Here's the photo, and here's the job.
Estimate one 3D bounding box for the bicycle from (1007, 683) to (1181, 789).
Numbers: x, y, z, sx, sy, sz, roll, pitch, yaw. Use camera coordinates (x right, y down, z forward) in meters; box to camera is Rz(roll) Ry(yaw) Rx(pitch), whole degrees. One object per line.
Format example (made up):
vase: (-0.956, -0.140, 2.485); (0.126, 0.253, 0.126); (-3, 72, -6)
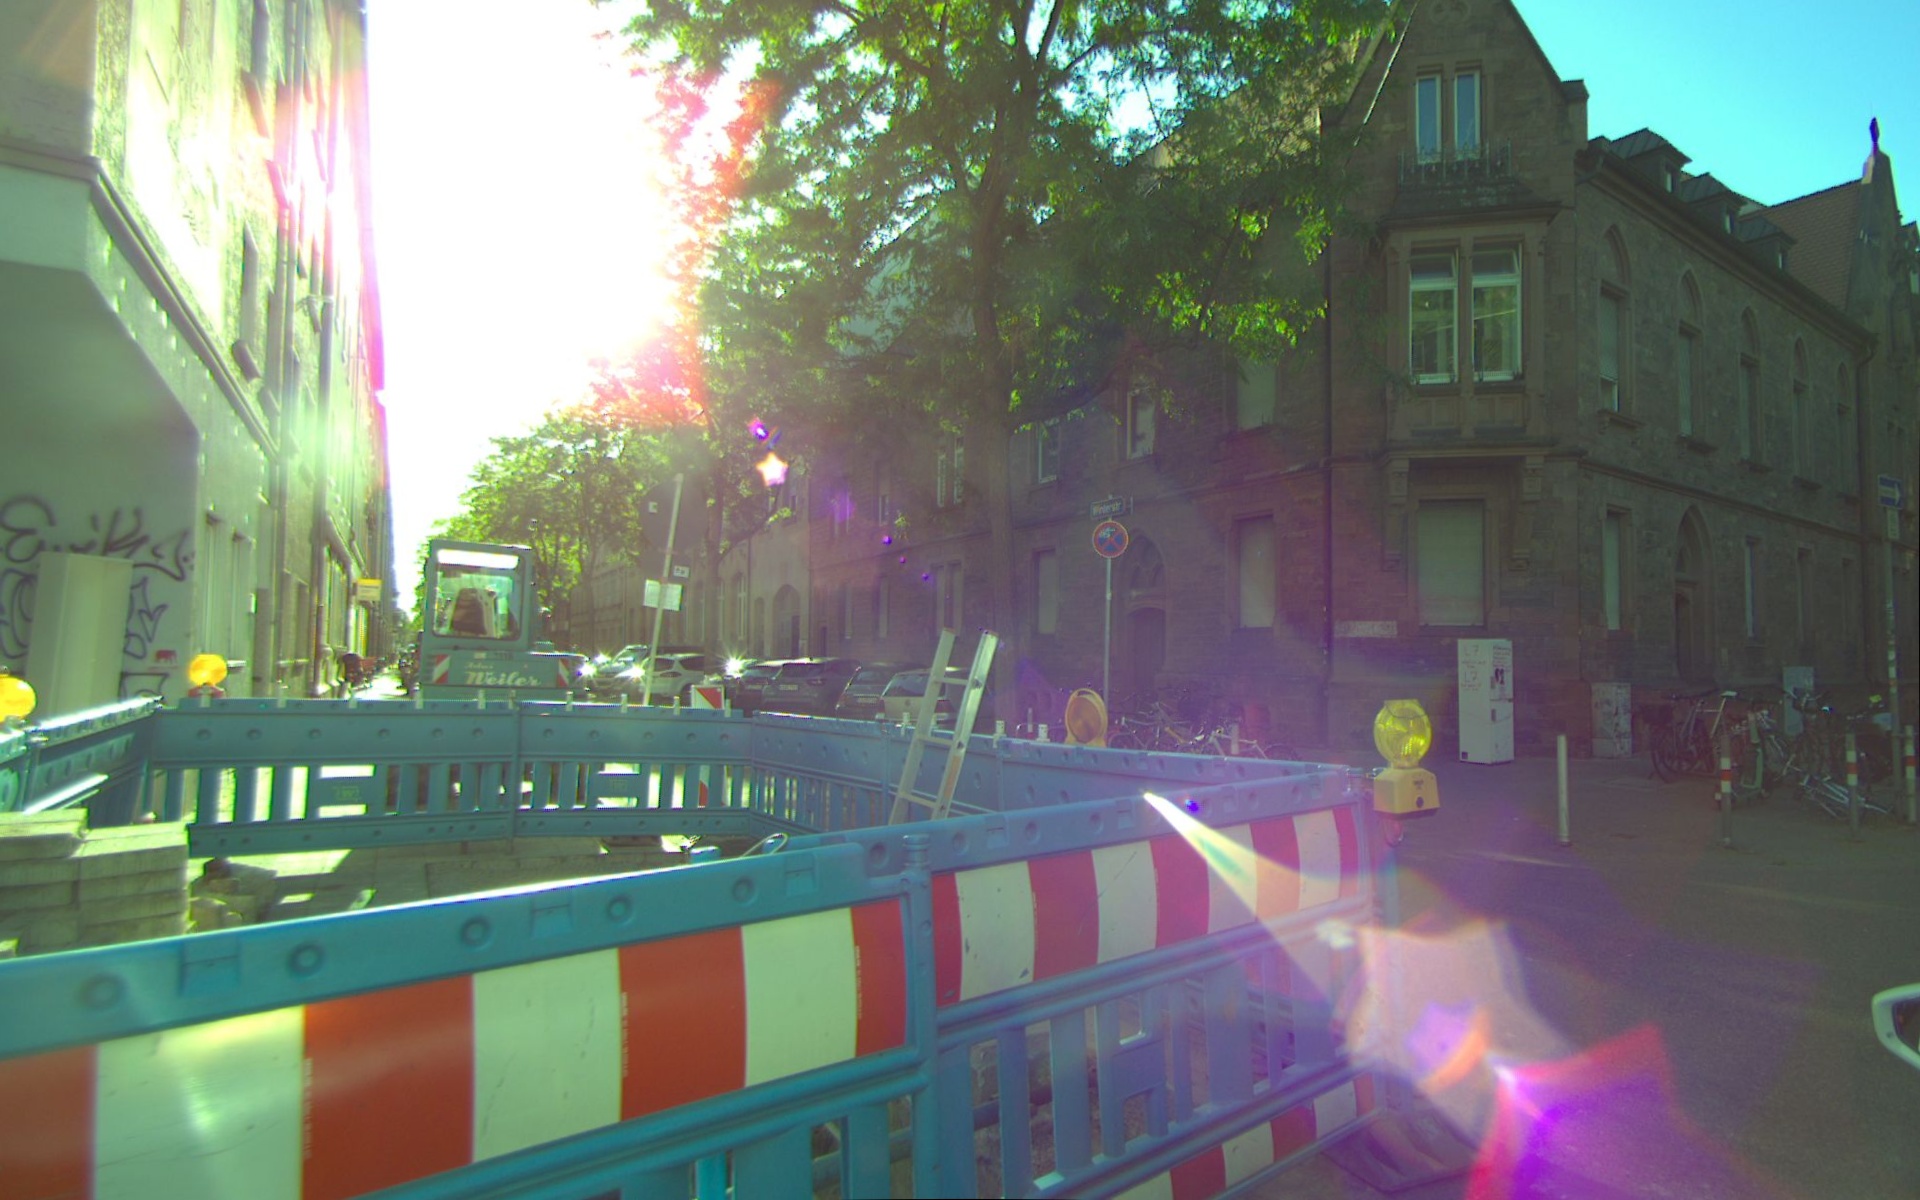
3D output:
bicycle: (1.795, 1.729, 13.176); (2.419, 1.195, 0.679); (1, -3, -34)

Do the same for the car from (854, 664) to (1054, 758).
car: (0.029, 1.965, 18.676); (1.827, 1.503, 4.264); (-1, -4, 30)

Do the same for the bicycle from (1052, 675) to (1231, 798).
bicycle: (2.305, 1.647, 12.571); (2.420, 1.338, 0.679); (1, -3, -35)

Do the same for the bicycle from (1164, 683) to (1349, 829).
bicycle: (3.165, 1.583, 10.629); (2.121, 1.338, 0.679); (1, -3, -35)

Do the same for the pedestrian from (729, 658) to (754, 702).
pedestrian: (-9.027, 3.295, 41.490); (0.727, 1.807, 1.000); (3, -4, -27)

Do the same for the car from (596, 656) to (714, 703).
car: (-11.059, 2.889, 36.724); (1.826, 1.588, 3.996); (-1, -4, 27)

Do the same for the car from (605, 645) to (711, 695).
car: (-12.127, 2.819, 40.610); (1.826, 1.927, 3.996); (-1, -4, 27)

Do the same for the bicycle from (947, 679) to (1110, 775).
bicycle: (1.014, 1.766, 14.377); (2.419, 1.195, 0.679); (1, -3, -34)

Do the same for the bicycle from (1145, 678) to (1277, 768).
bicycle: (3.701, 1.781, 14.968); (0.678, 1.195, 1.951); (1, -3, -33)

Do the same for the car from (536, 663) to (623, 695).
car: (-19.679, 4.084, 52.074); (1.826, 1.588, 3.996); (-1, -4, 27)

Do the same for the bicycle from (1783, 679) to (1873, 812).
bicycle: (10.074, 1.617, 11.725); (0.674, 1.362, 2.492); (-2, -4, 39)

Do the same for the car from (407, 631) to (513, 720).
car: (-12.309, 1.824, 24.578); (1.977, 1.964, 4.576); (3, -4, -30)

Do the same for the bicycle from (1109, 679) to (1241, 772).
bicycle: (3.078, 1.776, 14.577); (0.678, 1.195, 1.951); (1, -3, -34)

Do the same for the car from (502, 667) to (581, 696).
car: (-24.319, 4.729, 58.534); (1.826, 1.588, 3.996); (-1, -4, 27)

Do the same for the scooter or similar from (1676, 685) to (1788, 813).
scooter or similar: (8.389, 1.577, 10.913); (1.286, 1.294, 0.527); (3, -4, -32)

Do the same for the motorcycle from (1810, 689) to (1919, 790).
motorcycle: (12.717, 1.863, 13.730); (0.653, 1.222, 2.313); (0, -4, 13)

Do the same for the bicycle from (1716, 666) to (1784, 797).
bicycle: (9.716, 1.546, 12.340); (0.566, 1.441, 2.492); (-2, -4, 39)

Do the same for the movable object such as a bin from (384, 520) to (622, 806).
movable object such as a bin: (-5.066, 0.675, 10.983); (2.046, 2.634, 2.740); (2, -4, -30)

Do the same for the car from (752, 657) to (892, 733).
car: (-3.142, 2.188, 23.802); (1.823, 1.613, 4.003); (0, -4, 16)

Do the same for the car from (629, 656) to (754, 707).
car: (-8.943, 2.720, 33.799); (1.826, 1.588, 3.996); (-1, -4, 27)

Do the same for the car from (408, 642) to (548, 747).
car: (-8.602, 1.623, 17.737); (1.887, 1.586, 4.172); (5, -5, -29)

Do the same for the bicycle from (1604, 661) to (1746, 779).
bicycle: (9.598, 1.551, 13.433); (2.771, 1.441, 0.678); (3, -4, -36)

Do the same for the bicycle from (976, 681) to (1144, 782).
bicycle: (1.405, 1.752, 13.764); (2.419, 1.195, 0.679); (1, -3, -34)

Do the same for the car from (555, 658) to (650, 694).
car: (-16.644, 3.546, 46.933); (1.826, 1.588, 3.996); (-1, -4, 27)

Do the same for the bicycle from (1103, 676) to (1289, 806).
bicycle: (2.835, 1.606, 11.910); (2.420, 1.338, 0.679); (1, -3, -35)

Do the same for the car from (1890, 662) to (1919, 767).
car: (17.951, 1.962, 17.367); (3.960, 1.729, 1.870); (3, -6, -35)
